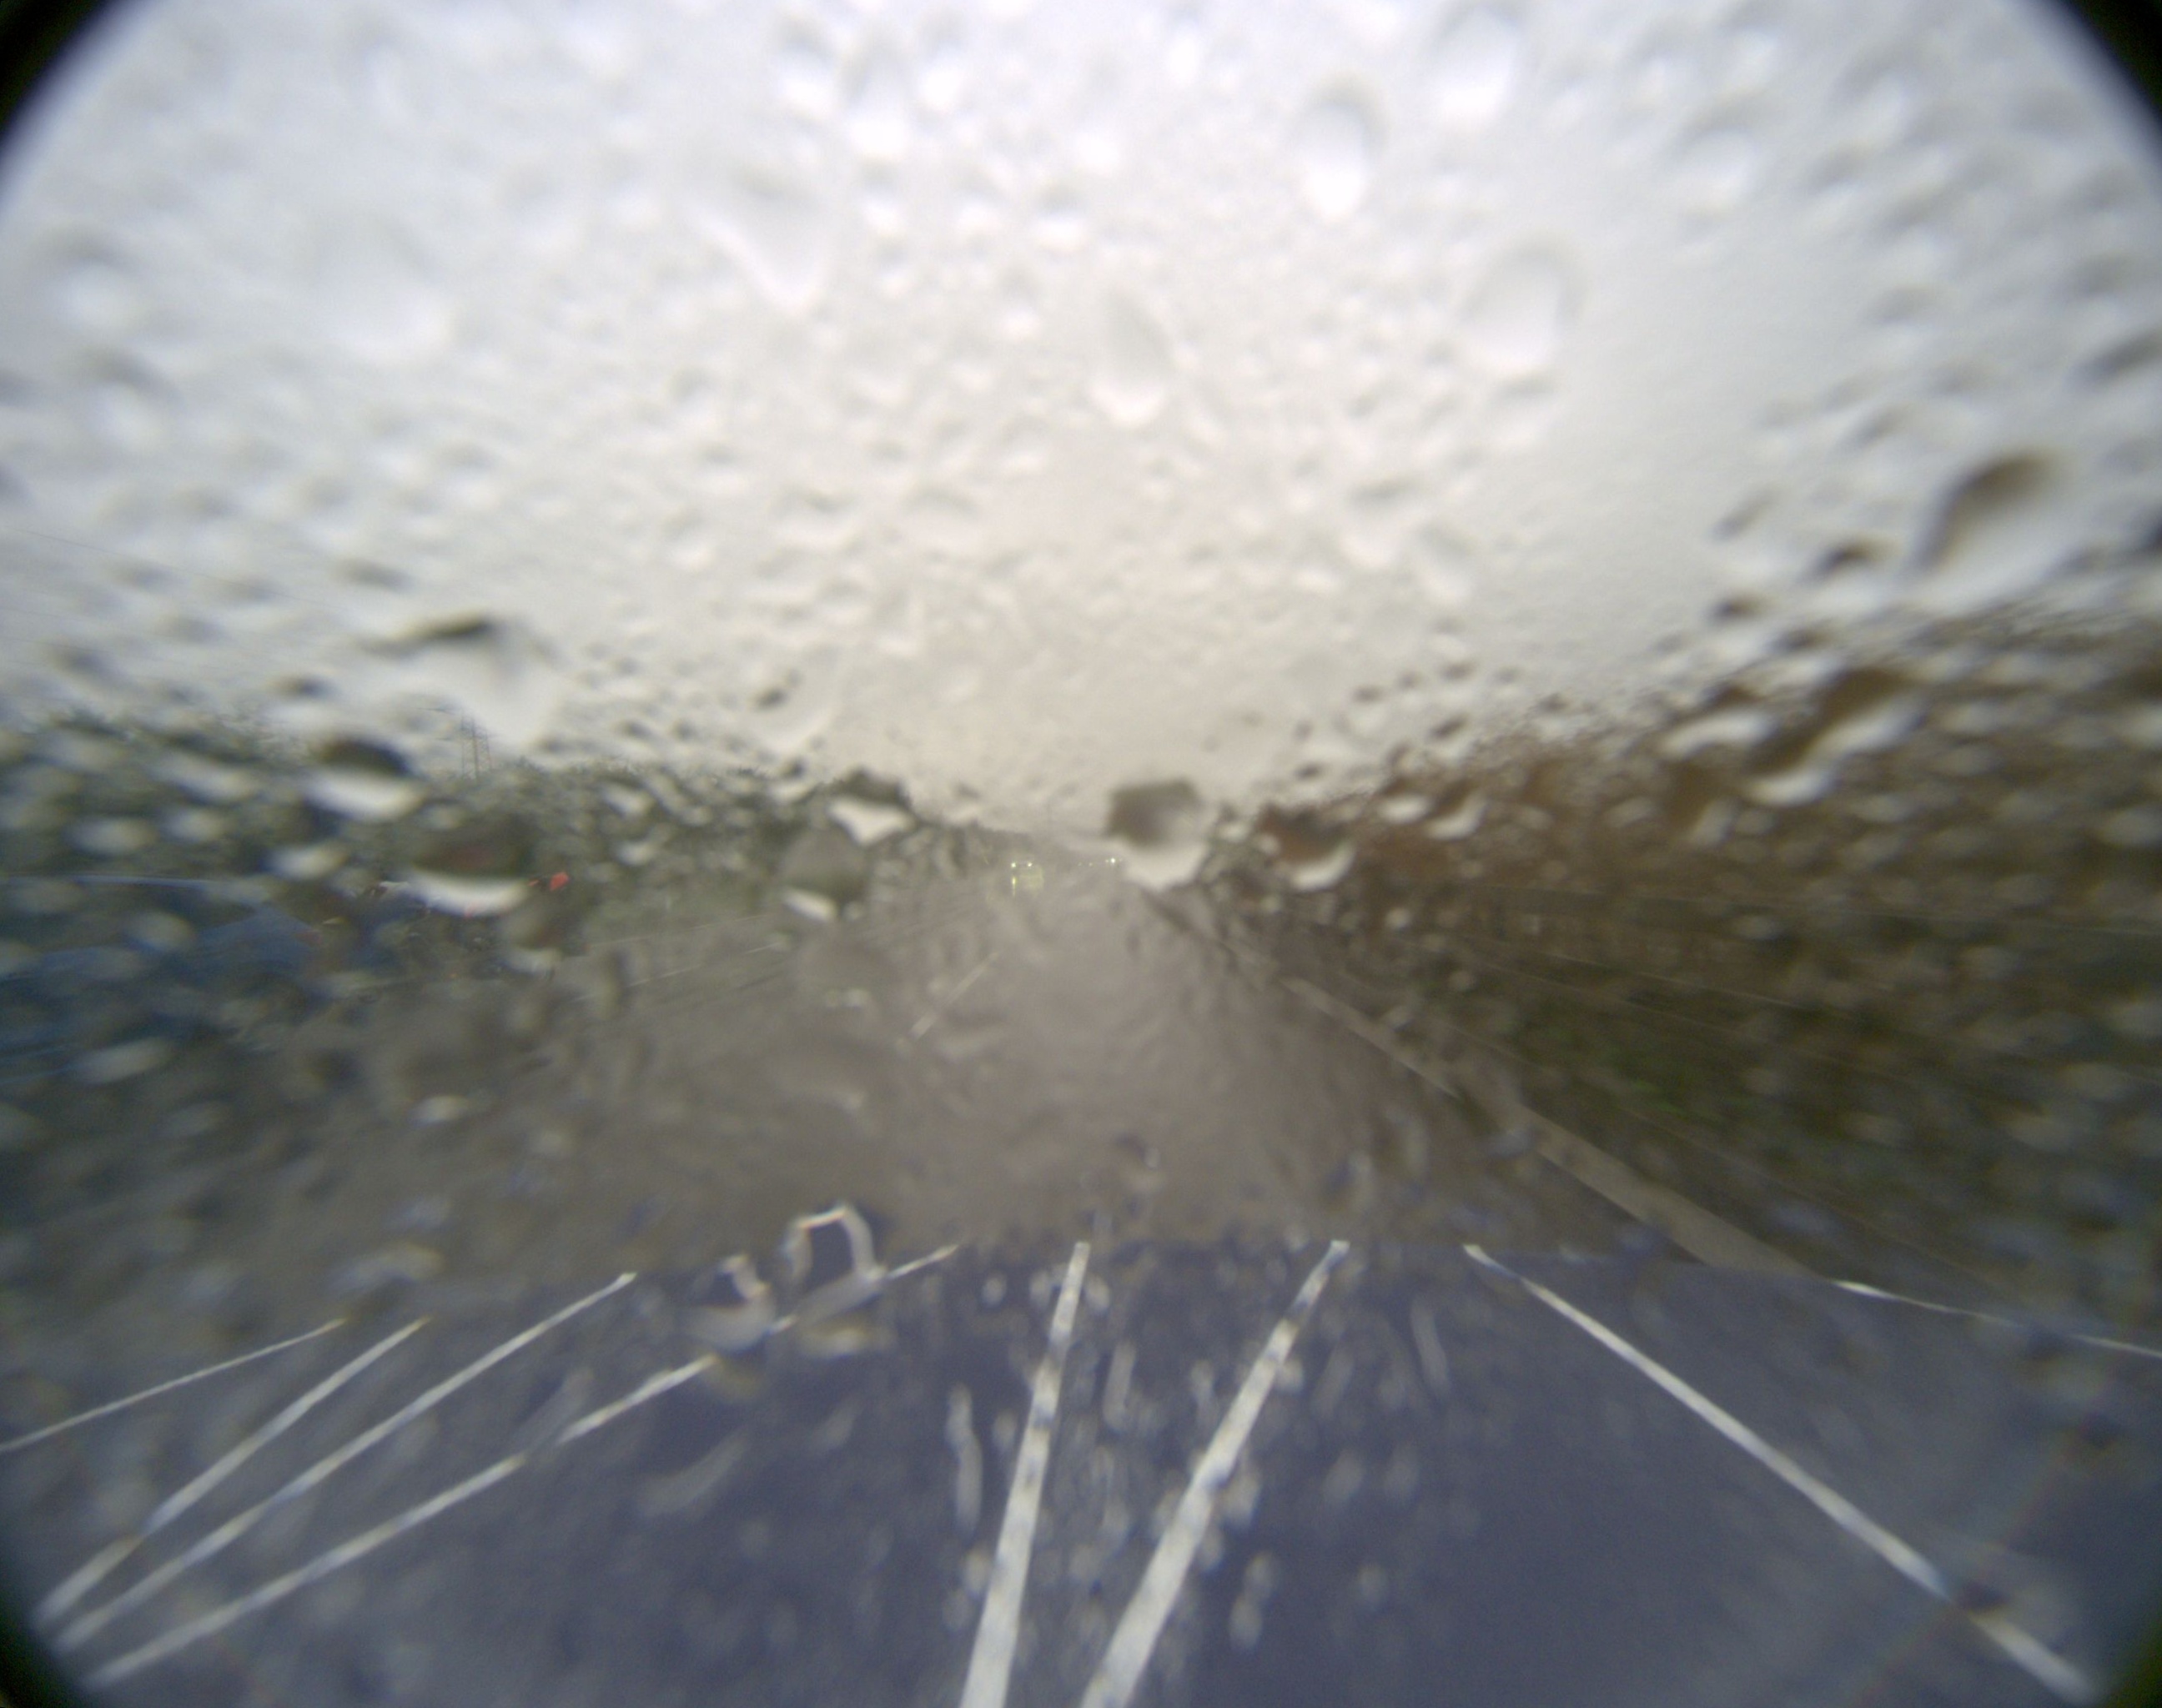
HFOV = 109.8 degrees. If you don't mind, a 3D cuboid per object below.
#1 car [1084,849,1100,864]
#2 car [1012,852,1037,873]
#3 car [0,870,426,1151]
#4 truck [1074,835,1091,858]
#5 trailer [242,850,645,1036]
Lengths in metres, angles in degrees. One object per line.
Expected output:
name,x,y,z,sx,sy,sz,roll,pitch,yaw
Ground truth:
car,1.568,0.334,108.446,1.998,2.002,4.001,-2,0,3
car,-5.588,0.826,75.390,1.998,2.002,4.000,-3,0,1
car,-7.574,1.029,4.951,1.998,1.610,4.993,-2,1,4
truck,0.335,-1.528,158.006,3.135,4.641,11.405,-2,0,2
trailer,-7.277,0.887,9.160,1.983,1.774,3.189,-2,1,4
